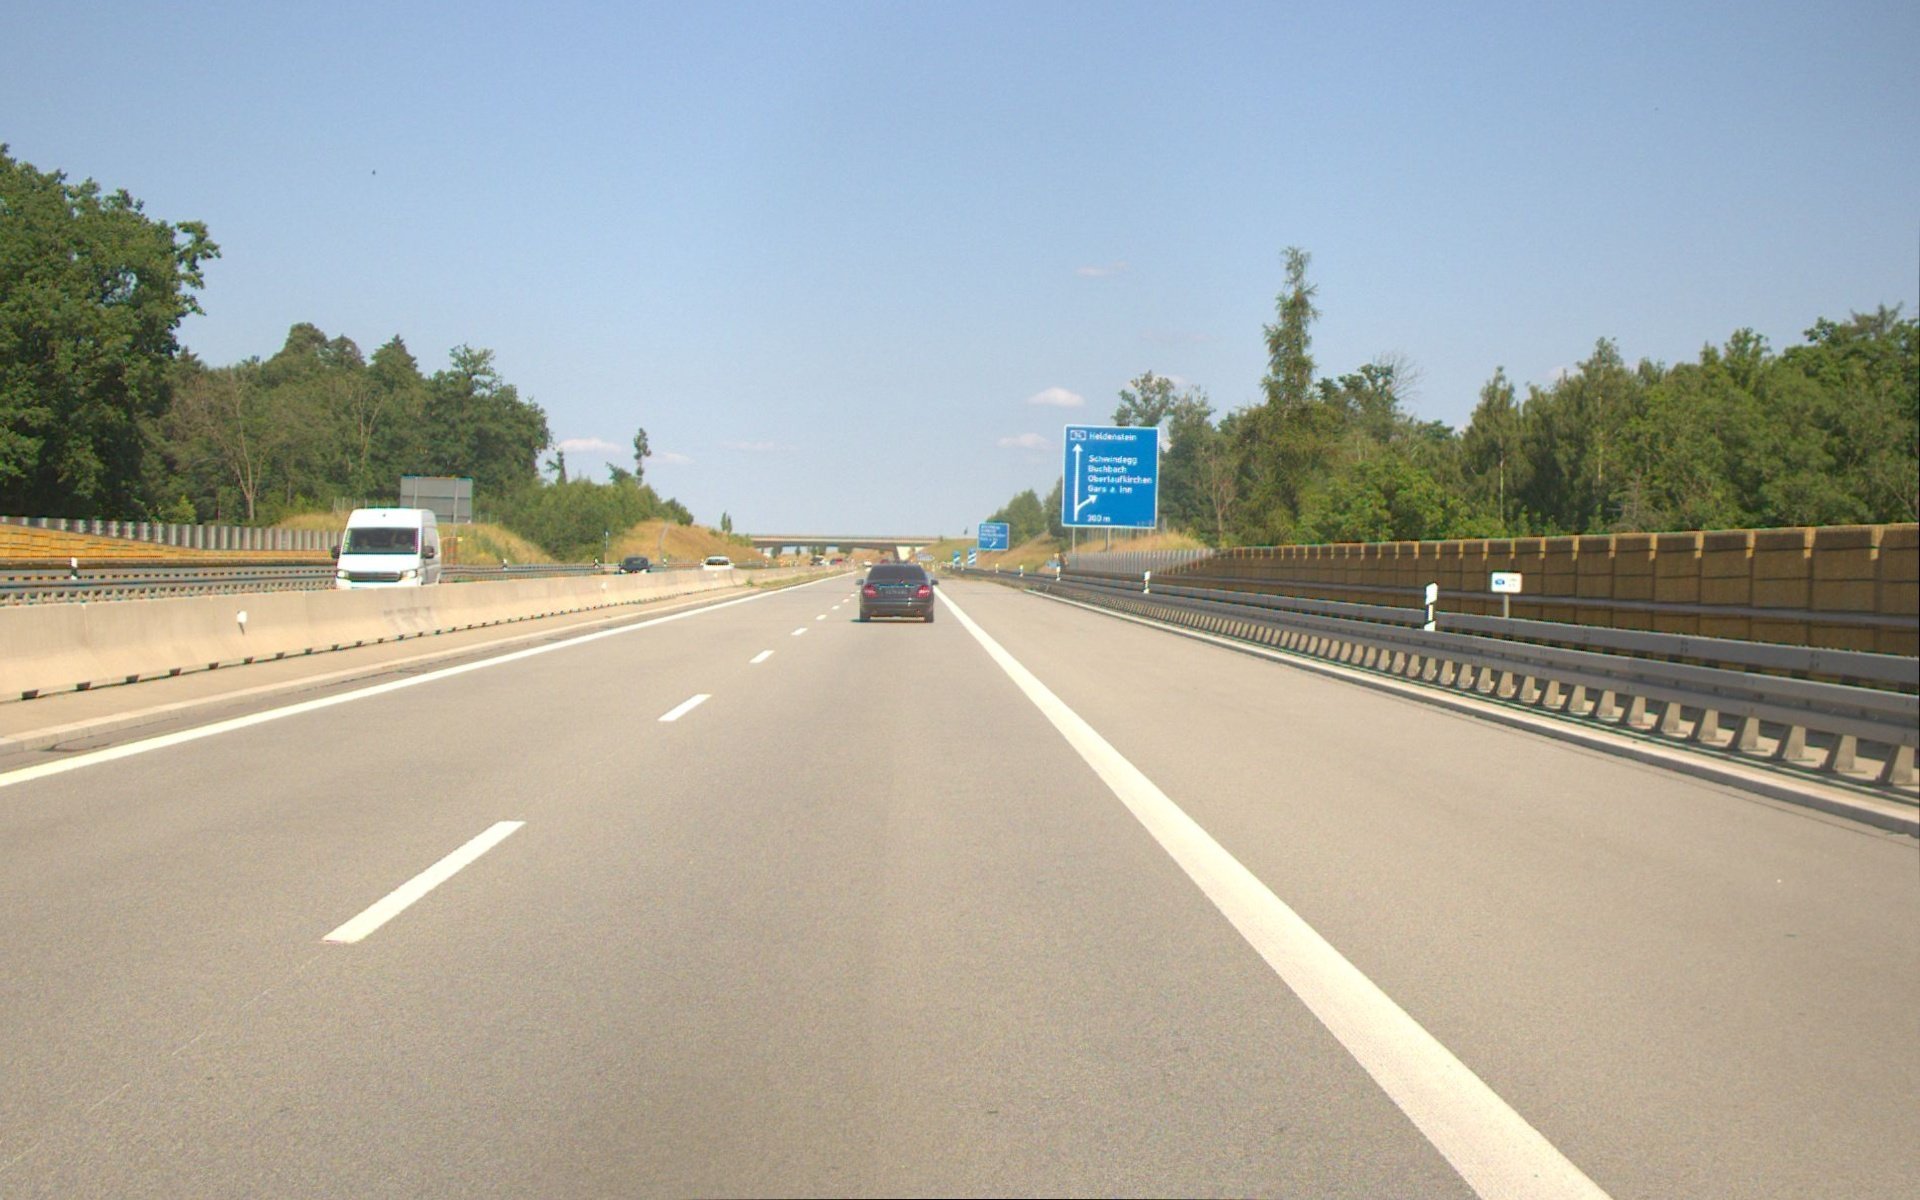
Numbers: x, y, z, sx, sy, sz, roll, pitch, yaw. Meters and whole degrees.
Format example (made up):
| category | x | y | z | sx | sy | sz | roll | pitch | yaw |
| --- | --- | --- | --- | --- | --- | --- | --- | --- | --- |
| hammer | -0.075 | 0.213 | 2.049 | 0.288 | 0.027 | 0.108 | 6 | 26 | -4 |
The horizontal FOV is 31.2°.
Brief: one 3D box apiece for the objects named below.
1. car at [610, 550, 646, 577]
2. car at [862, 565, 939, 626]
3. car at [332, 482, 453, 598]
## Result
| category | x | y | z | sx | sy | sz | roll | pitch | yaw |
| --- | --- | --- | --- | --- | --- | --- | --- | --- | --- |
| car | -17.910 | -1.984 | 185.375 | 1.579 | 1.453 | 4.450 | 1 | 1 | -1 |
| car | -1.408 | -0.115 | 82.047 | 1.790 | 1.369 | 3.917 | 1 | 1 | -1 |
| car | -13.682 | -1.443 | 83.256 | 2.023 | 2.661 | 6.488 | 1 | 1 | -2 |
